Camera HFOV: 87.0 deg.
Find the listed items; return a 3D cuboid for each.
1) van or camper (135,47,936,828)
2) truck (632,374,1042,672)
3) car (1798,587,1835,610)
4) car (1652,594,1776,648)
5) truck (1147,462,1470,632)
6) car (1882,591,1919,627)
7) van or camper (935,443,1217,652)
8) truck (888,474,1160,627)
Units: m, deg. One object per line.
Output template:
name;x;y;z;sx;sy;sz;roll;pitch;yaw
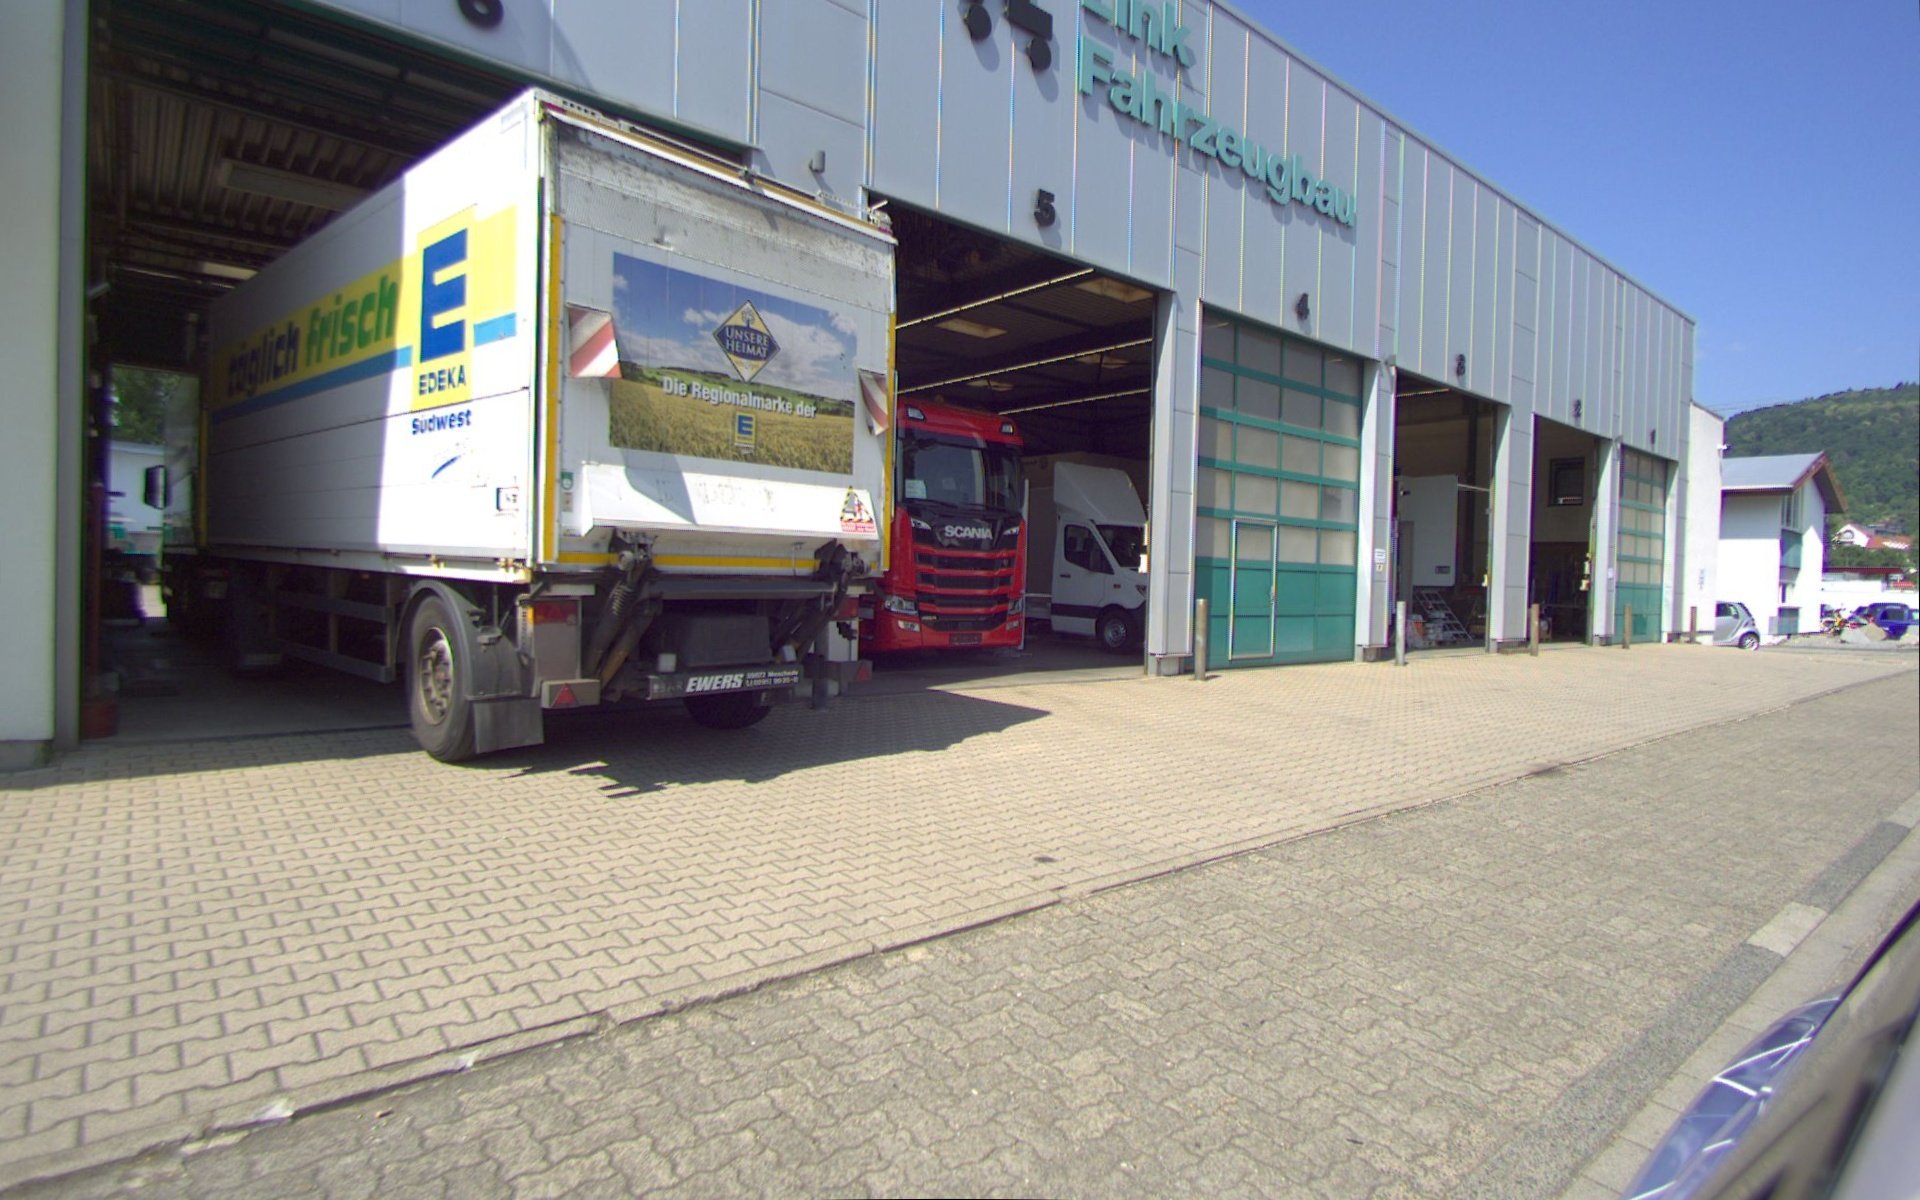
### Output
van or camper;-5.333;-1.014;9.862;11.601;3.738;2.738;3;2;43
truck;-2.379;-1.030;15.621;2.435;3.446;7.970;0;2;-39
car;54.791;-0.128;64.708;3.134;1.396;1.449;-1;0;-44
car;23.095;0.627;31.053;2.772;1.553;1.311;1;-1;3
truck;8.840;-1.334;26.710;2.577;3.828;7.854;0;2;-39
car;36.922;0.315;38.198;1.427;1.357;2.974;-1;0;-39
van or camper;1.922;-0.868;18.255;1.966;3.246;5.050;-1;1;-42
truck;1.438;-1.265;27.000;2.720;3.502;7.569;0;2;-40
